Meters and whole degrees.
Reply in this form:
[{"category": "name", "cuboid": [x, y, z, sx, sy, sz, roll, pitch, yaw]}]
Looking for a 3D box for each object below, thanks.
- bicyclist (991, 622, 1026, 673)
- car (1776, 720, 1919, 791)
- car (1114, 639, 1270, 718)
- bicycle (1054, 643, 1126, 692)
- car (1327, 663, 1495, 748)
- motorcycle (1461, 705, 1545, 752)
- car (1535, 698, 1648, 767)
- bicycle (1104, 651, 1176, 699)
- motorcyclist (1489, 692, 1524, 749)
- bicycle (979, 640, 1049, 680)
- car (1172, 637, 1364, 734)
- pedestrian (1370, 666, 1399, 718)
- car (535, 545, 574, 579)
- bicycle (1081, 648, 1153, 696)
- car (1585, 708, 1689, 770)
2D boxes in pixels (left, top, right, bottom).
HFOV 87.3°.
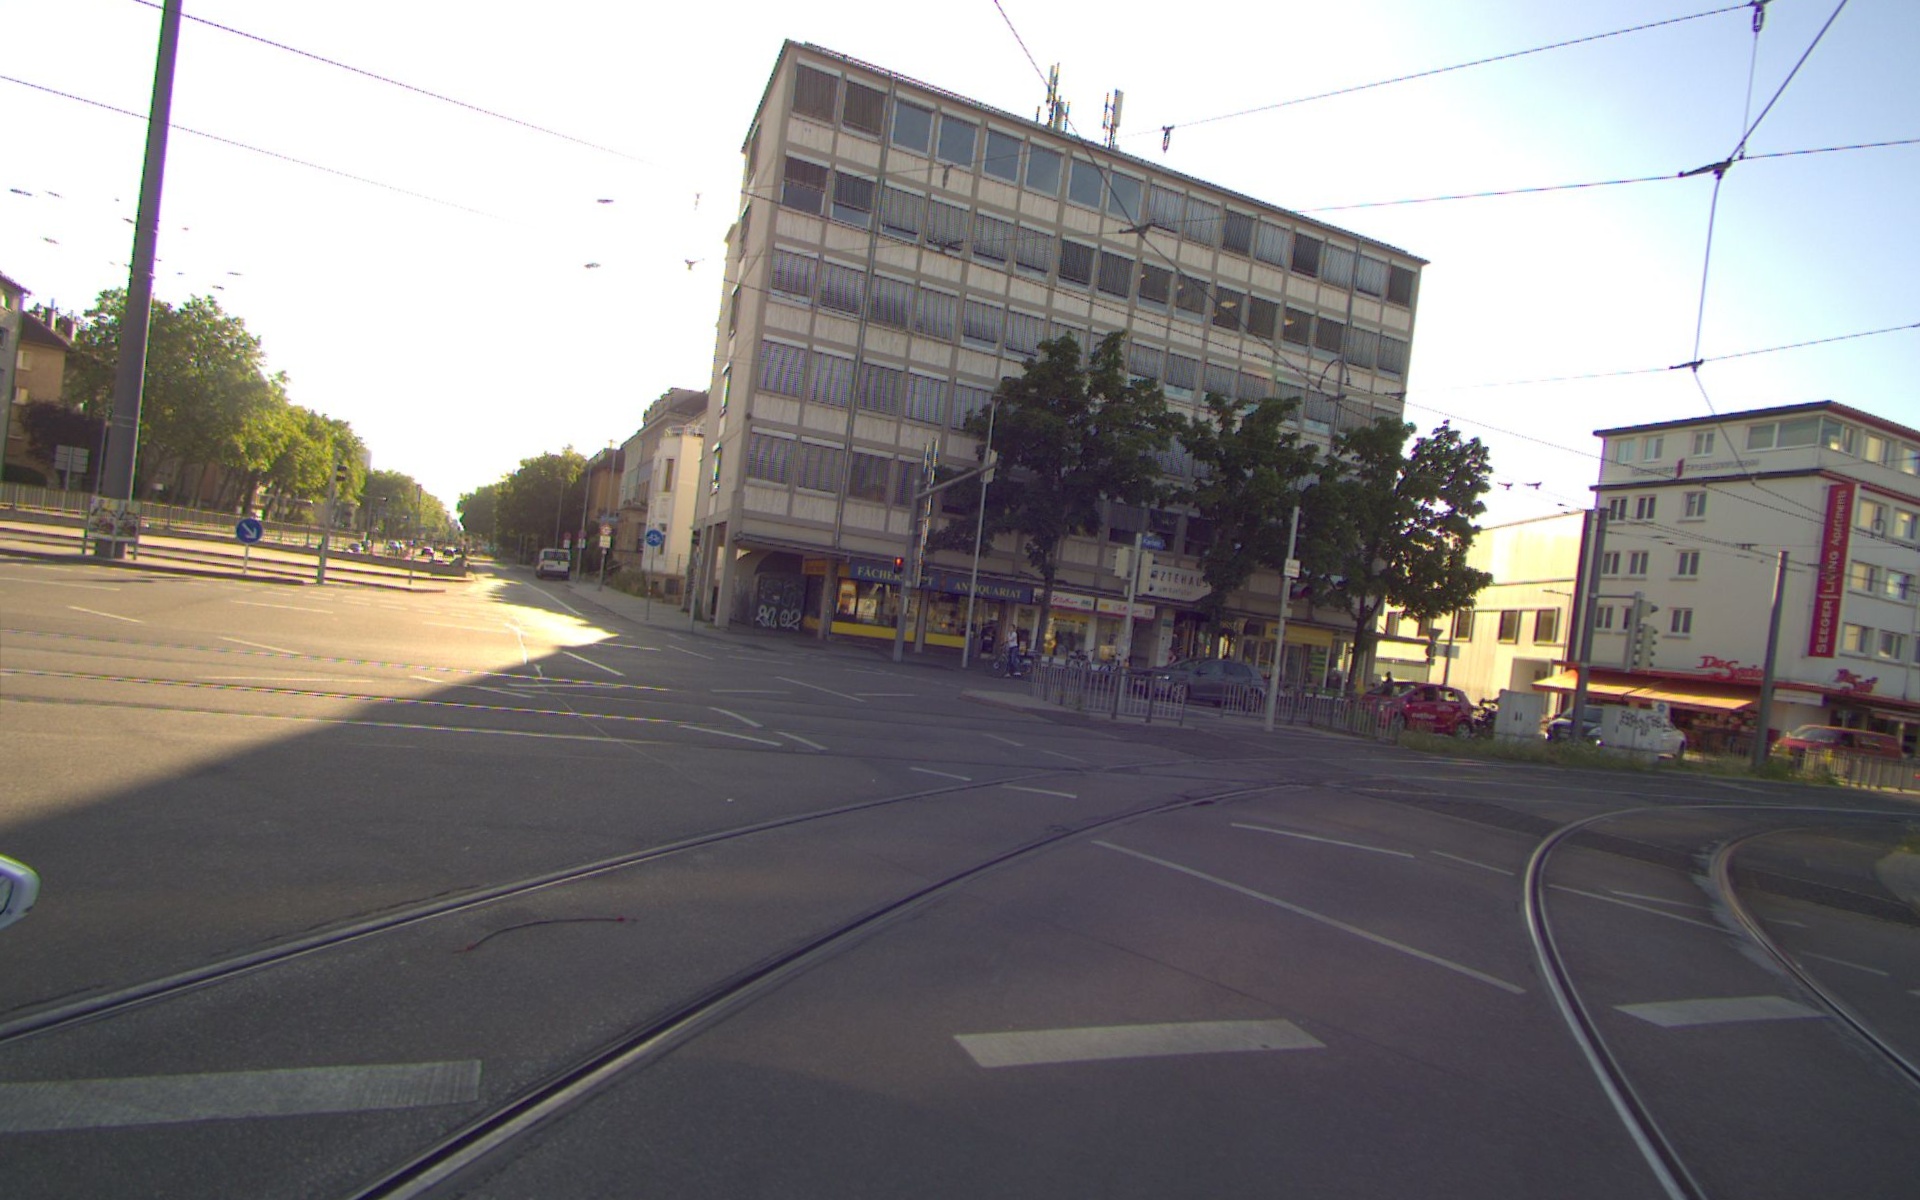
[{"category": "bicyclist", "cuboid": [1.494, 1.467, 31.060, 0.674, 1.440, 0.666, 9, -1, -28]}, {"category": "car", "cuboid": [33.833, 5.891, 38.191, 4.556, 1.863, 1.899, 9, -1, -13]}, {"category": "car", "cuboid": [6.871, 2.323, 29.804, 4.029, 1.636, 1.835, 10, -1, -23]}, {"category": "bicycle", "cuboid": [4.317, 2.239, 33.761, 0.745, 1.157, 2.616, 9, 1, -33]}, {"category": "car", "cuboid": [12.263, 2.863, 27.390, 3.950, 1.636, 1.835, 10, -1, -23]}, {"category": "motorcycle", "cuboid": [15.761, 3.735, 29.172, 2.637, 1.013, 0.532, 10, -1, -23]}, {"category": "car", "cuboid": [19.668, 4.144, 31.266, 3.976, 1.636, 1.822, 10, -2, -42]}, {"category": "bicycle", "cuboid": [6.206, 2.583, 34.873, 0.745, 1.157, 2.616, 9, 1, -33]}, {"category": "motorcyclist", "cuboid": [15.761, 3.471, 29.018, 0.456, 1.526, 0.532, 9, -1, -22]}, {"category": "bicycle", "cuboid": [1.673, 1.865, 31.169, 2.009, 0.951, 0.666, 10, -1, -28]}, {"category": "car", "cuboid": [7.291, 2.024, 23.816, 3.950, 1.636, 1.835, 10, -1, -23]}, {"category": "pedestrian", "cuboid": [17.644, 3.812, 41.834, 0.616, 2.037, 0.714, 8, -1, -5]}, {"category": "car", "cuboid": [-30.835, -2.882, 76.386, 2.266, 2.197, 4.804, 9, -2, -25]}, {"category": "bicycle", "cuboid": [5.333, 2.428, 34.350, 0.745, 1.157, 2.616, 9, 1, -33]}, {"category": "car", "cuboid": [23.482, 4.834, 34.858, 3.973, 1.636, 1.824, 10, -2, -40]}]
